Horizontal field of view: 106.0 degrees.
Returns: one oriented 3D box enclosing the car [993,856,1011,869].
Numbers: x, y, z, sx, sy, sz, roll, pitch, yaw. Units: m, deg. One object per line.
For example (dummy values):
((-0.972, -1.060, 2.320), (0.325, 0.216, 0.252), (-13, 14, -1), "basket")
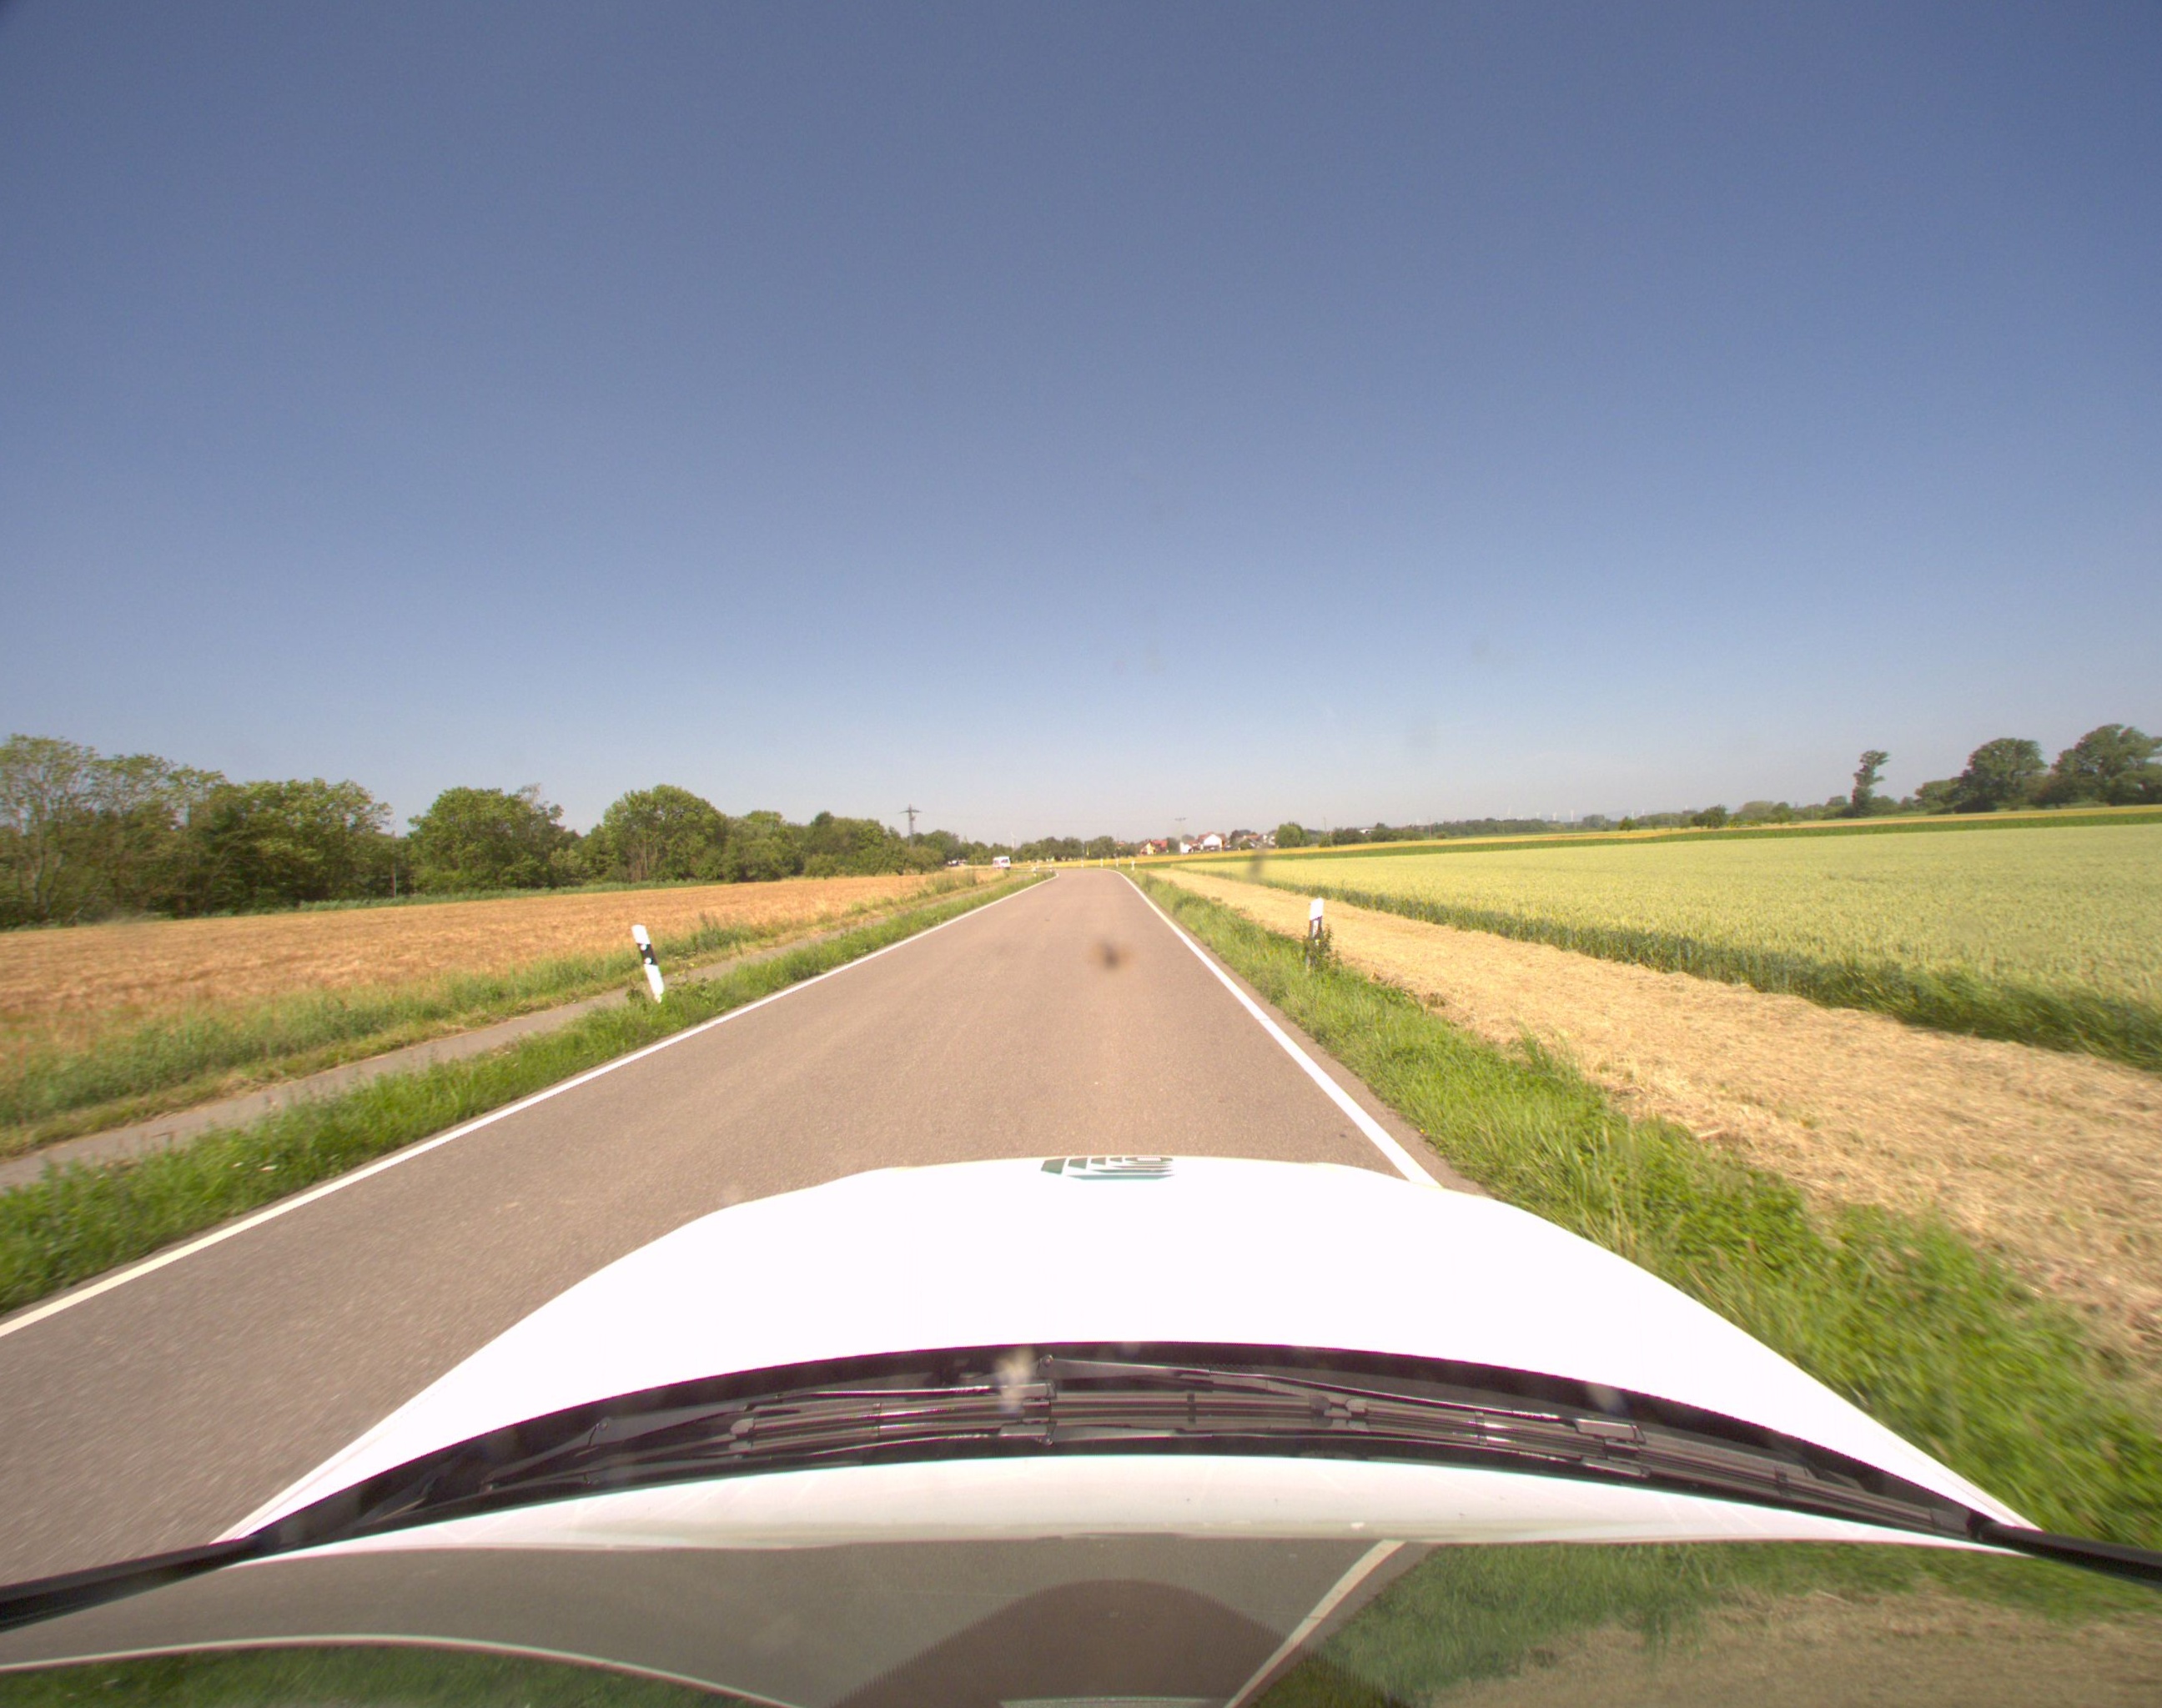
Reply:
((-14.019, 1.521, 143.879), (2.001, 2.266, 4.693), (-3, 0, -20), "car")
